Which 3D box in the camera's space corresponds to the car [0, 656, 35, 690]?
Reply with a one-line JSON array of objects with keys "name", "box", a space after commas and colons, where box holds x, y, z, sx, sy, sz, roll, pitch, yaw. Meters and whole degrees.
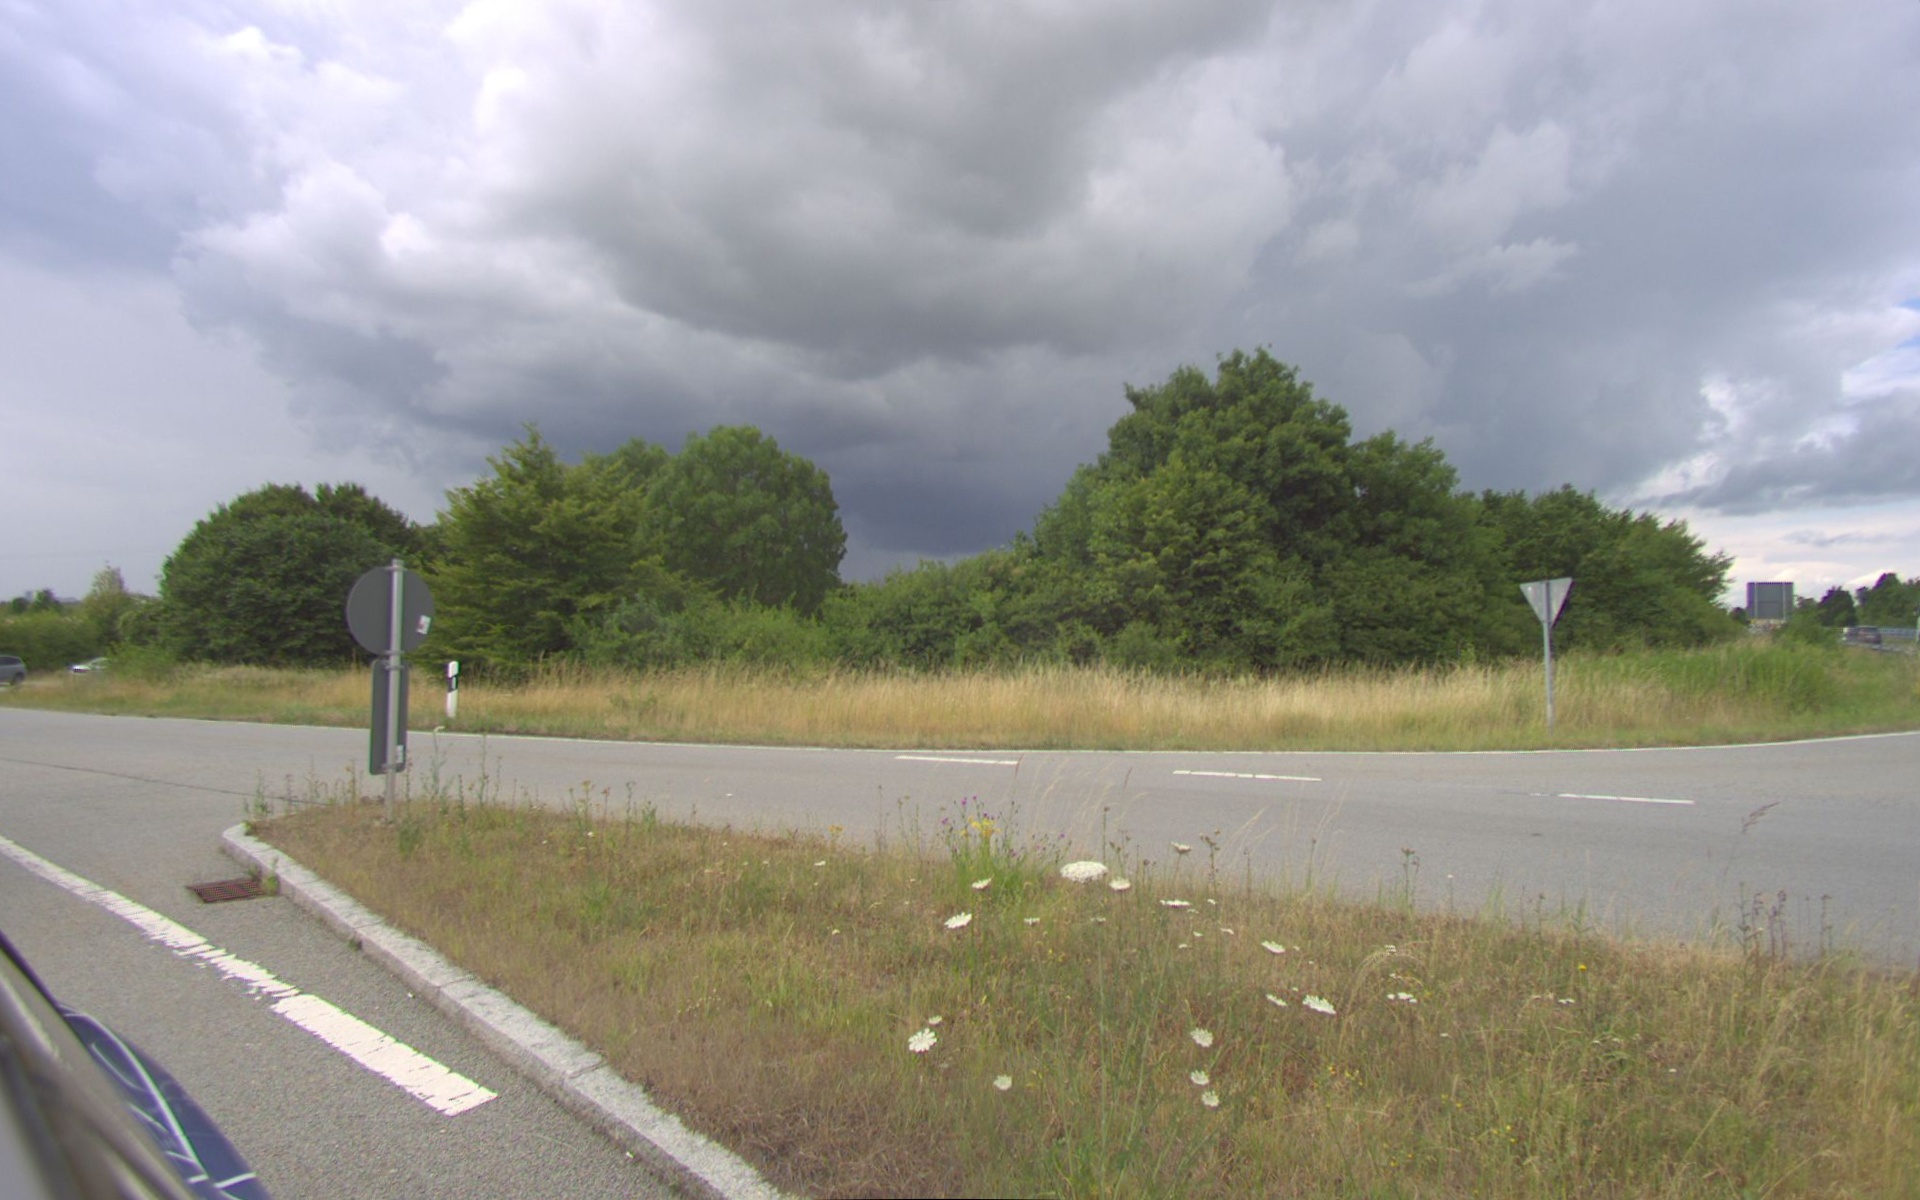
[{"name": "car", "box": [-53.262, 3.975, 54.985, 1.967, 1.732, 5.220, 3, -3, -11]}]

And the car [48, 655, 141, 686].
[{"name": "car", "box": [-55.206, 4.452, 64.714, 1.968, 1.732, 5.217, 3, -3, -8]}]

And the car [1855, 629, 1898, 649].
[{"name": "car", "box": [75.923, 3.255, 83.861, 1.995, 1.614, 4.175, -1, -3, 34]}]

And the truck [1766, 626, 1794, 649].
[{"name": "truck", "box": [98.115, 4.473, 121.173, 2.060, 2.724, 5.974, -1, -2, 34]}]
